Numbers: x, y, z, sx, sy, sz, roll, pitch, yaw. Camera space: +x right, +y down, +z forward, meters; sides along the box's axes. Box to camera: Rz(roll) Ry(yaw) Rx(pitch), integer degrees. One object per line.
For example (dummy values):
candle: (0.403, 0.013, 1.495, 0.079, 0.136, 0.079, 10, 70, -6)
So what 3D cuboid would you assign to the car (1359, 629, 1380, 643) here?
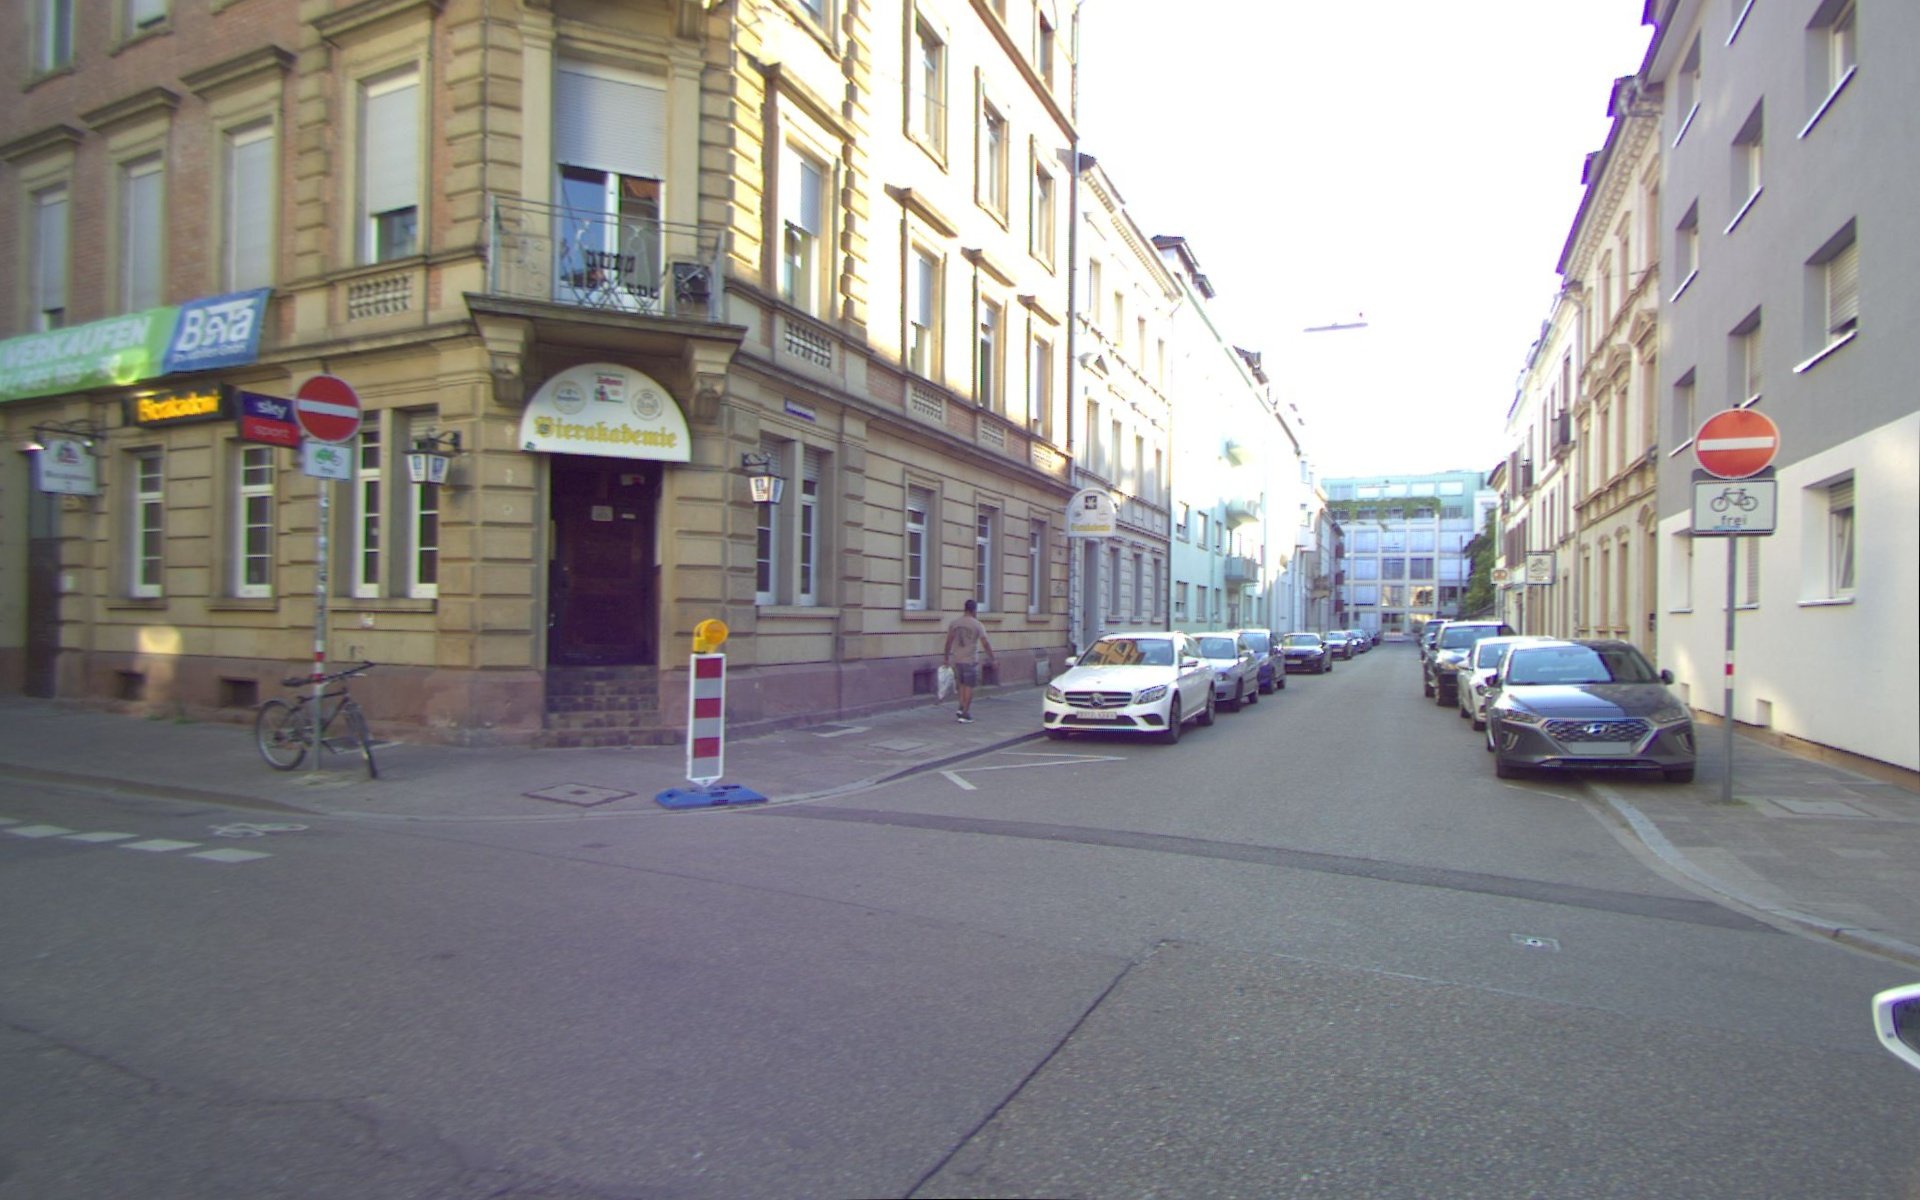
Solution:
car: (41.037, 3.617, 100.623, 1.962, 1.326, 3.881, 0, -2, 23)

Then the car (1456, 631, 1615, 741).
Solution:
car: (9.491, 1.326, 16.868, 1.932, 1.577, 3.886, 0, -2, 24)

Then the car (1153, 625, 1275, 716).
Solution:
car: (5.069, 1.296, 19.720, 1.600, 1.597, 3.750, 0, -2, 26)

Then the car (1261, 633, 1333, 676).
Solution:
car: (11.913, 1.861, 35.342, 1.962, 1.373, 4.426, 0, -2, 24)

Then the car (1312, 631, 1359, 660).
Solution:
car: (19.356, 2.310, 51.670, 2.138, 1.437, 3.999, 0, -2, 23)

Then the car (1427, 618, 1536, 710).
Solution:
car: (11.305, 1.319, 22.004, 1.863, 1.808, 3.998, 0, -2, 24)

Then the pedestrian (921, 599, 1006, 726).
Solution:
pedestrian: (0.062, 0.896, 14.808, 0.965, 1.765, 1.017, 2, 0, 15)

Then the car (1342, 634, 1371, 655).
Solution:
car: (26.531, 2.973, 67.167, 1.680, 1.320, 3.998, 0, -2, 24)

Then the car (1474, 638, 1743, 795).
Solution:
car: (7.023, 1.171, 11.328, 1.907, 1.390, 3.787, -2, -2, 24)

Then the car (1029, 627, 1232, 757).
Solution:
car: (2.679, 1.194, 14.777, 1.962, 1.585, 4.504, 0, -2, 23)

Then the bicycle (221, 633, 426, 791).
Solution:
bicycle: (-5.823, 0.978, 9.195, 1.729, 1.292, 0.660, 0, 2, 22)

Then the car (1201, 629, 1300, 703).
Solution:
car: (7.292, 1.571, 25.009, 1.758, 1.680, 3.813, 0, -2, 26)
